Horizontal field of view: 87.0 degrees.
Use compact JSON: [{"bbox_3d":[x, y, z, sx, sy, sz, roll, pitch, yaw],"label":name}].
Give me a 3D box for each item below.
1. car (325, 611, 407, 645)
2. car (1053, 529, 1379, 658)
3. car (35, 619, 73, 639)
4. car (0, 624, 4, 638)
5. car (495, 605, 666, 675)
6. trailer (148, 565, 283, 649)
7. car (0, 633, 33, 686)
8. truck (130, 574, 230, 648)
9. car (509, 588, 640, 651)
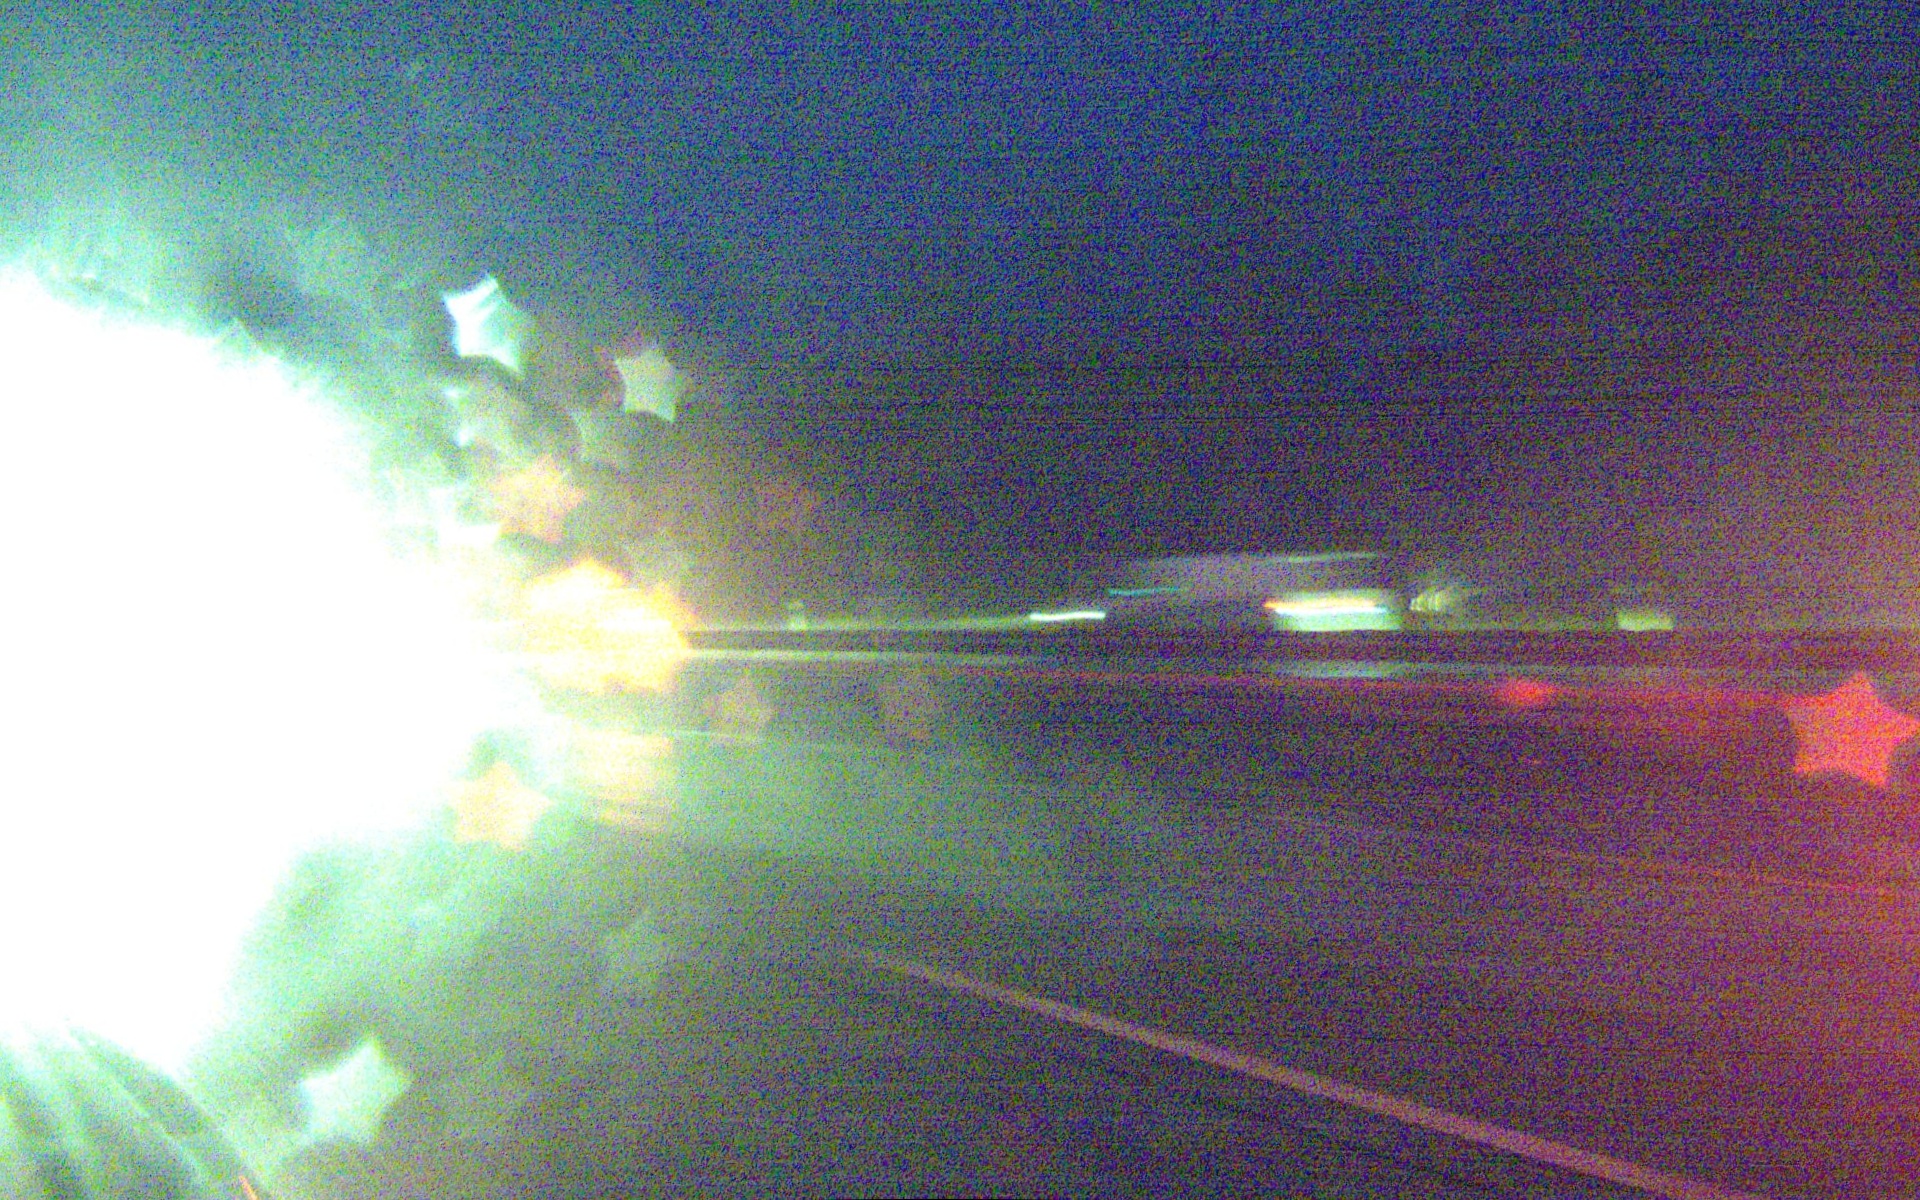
[{"bbox_3d":[-27.605,1.304,47.006,4.161,1.405,1.822,-2,0,38],"label":"car"},{"bbox_3d":[4.297,-0.066,17.536,5.131,1.924,1.967,-1,-1,40],"label":"car"},{"bbox_3d":[-72.630,2.302,81.085,3.714,1.507,1.689,-1,-1,38],"label":"car"},{"bbox_3d":[-106.592,3.403,111.009,3.995,1.507,1.974,-1,-1,39],"label":"car"},{"bbox_3d":[-9.100,0.915,24.132,4.301,1.520,1.864,-1,-1,38],"label":"car"},{"bbox_3d":[-41.137,0.500,55.712,11.710,4.205,3.321,-2,-2,40],"label":"trailer"},{"bbox_3d":[-30.153,1.851,31.277,3.844,1.587,1.633,-3,-3,39],"label":"car"},{"bbox_3d":[-46.438,0.669,60.184,6.458,4.205,3.331,-2,0,40],"label":"truck"},{"bbox_3d":[-12.709,0.642,33.230,4.839,1.924,1.872,-1,-1,40],"label":"car"}]
